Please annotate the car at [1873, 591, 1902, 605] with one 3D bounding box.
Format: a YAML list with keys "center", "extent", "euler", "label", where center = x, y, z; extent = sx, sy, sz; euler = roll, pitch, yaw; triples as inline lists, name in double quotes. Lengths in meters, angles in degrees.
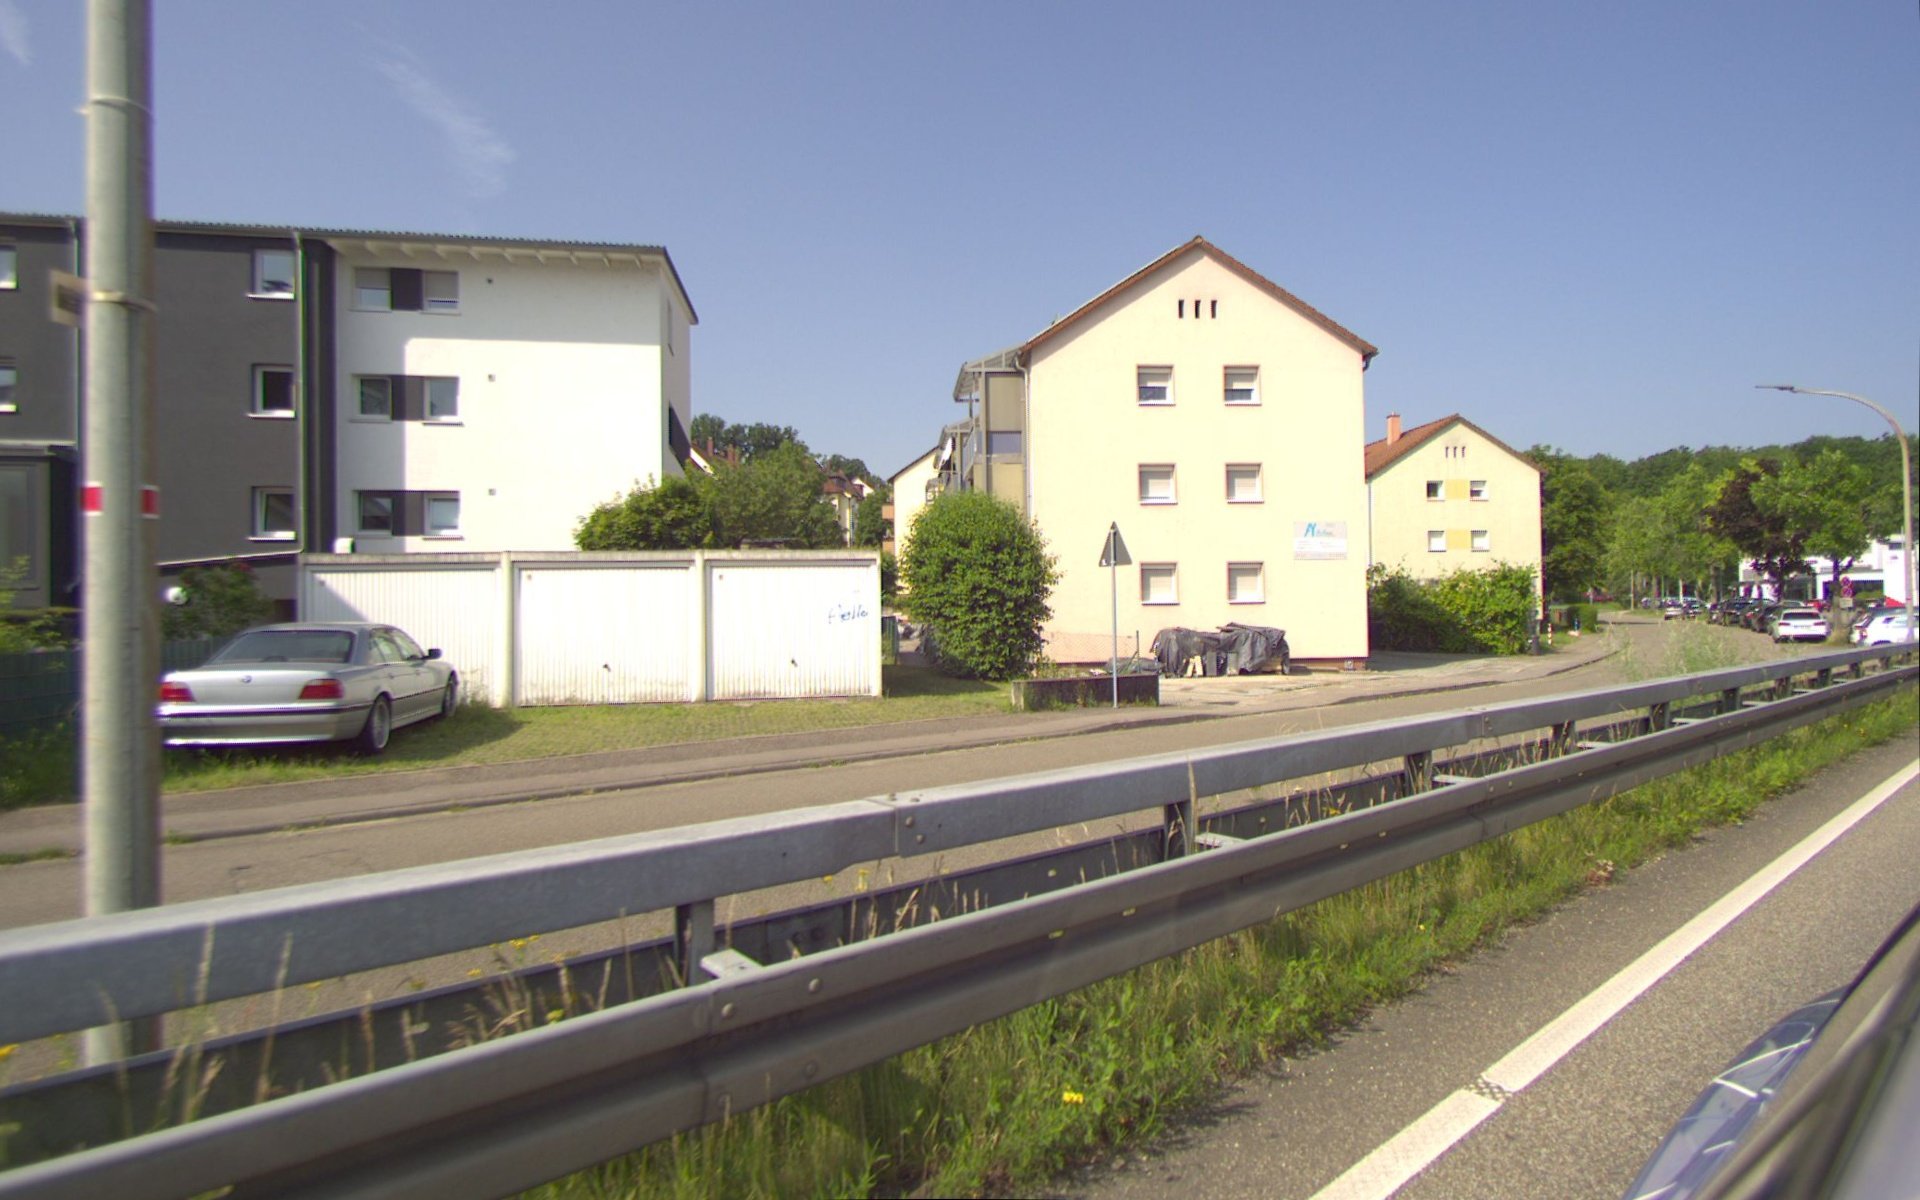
- center: [109.475, -0.275, 119.453]
  extent: [4.530, 1.565, 2.001]
  euler: [-1, 2, -40]
  label: "car"

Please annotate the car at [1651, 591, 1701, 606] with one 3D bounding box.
- center: [83.597, -0.226, 118.254]
  extent: [4.723, 1.654, 1.907]
  euler: [1, 2, 37]
  label: "car"

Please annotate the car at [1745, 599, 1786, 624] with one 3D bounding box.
- center: [48.243, 0.688, 60.658]
  extent: [1.645, 1.383, 3.618]
  euler: [0, 1, 34]
  label: "car"

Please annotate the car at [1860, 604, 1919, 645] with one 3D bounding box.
- center: [36.219, 0.924, 37.592]
  extent: [4.050, 1.470, 1.705]
  euler: [0, 1, 39]
  label: "car"

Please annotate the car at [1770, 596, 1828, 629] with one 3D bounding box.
- center: [40.648, 0.569, 49.103]
  extent: [1.697, 1.423, 4.430]
  euler: [0, 1, 34]
  label: "car"

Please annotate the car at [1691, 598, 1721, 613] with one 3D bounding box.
- center: [62.095, 0.452, 84.243]
  extent: [1.580, 1.201, 3.624]
  euler: [0, 1, 30]
  label: "car"

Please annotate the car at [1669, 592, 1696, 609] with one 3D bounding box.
- center: [64.032, 0.034, 89.730]
  extent: [1.775, 1.493, 3.940]
  euler: [0, 1, 34]
  label: "car"

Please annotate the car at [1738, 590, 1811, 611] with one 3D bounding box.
- center: [66.411, 0.001, 82.592]
  extent: [4.468, 1.620, 1.818]
  euler: [0, 1, 36]
  label: "car"

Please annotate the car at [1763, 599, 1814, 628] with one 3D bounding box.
- center: [43.495, 0.671, 53.194]
  extent: [1.697, 1.423, 3.618]
  euler: [0, 1, 34]
  label: "car"

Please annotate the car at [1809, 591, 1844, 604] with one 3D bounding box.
- center: [106.327, -0.329, 124.190]
  extent: [4.520, 1.565, 2.005]
  euler: [-1, 2, -32]
  label: "car"

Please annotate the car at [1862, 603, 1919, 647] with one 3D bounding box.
- center: [34.666, 0.821, 35.792]
  extent: [3.986, 1.468, 1.737]
  euler: [-5, -3, 45]
  label: "car"

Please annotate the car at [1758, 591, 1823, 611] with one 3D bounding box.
- center: [64.748, 0.056, 78.989]
  extent: [3.738, 1.541, 1.638]
  euler: [0, 0, 33]
  label: "car"

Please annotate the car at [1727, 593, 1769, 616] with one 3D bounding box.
- center: [52.680, 0.258, 67.742]
  extent: [1.901, 1.423, 4.470]
  euler: [0, 1, 34]
  label: "car"

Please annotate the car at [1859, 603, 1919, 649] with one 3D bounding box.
- center: [30.874, 0.821, 32.262]
  extent: [3.261, 1.394, 1.526]
  euler: [-3, -1, 43]
  label: "car"

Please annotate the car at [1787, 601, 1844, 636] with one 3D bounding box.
- center: [37.290, 0.750, 44.187]
  extent: [1.780, 1.438, 4.376]
  euler: [0, 0, 39]
  label: "car"

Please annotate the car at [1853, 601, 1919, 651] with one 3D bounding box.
- center: [33.147, 0.806, 34.270]
  extent: [4.229, 1.593, 1.889]
  euler: [-5, -3, 42]
  label: "car"

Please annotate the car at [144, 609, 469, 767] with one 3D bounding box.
- center: [-7.446, 0.880, 12.138]
  extent: [1.718, 1.365, 4.621]
  euler: [1, 1, -12]
  label: "car"
